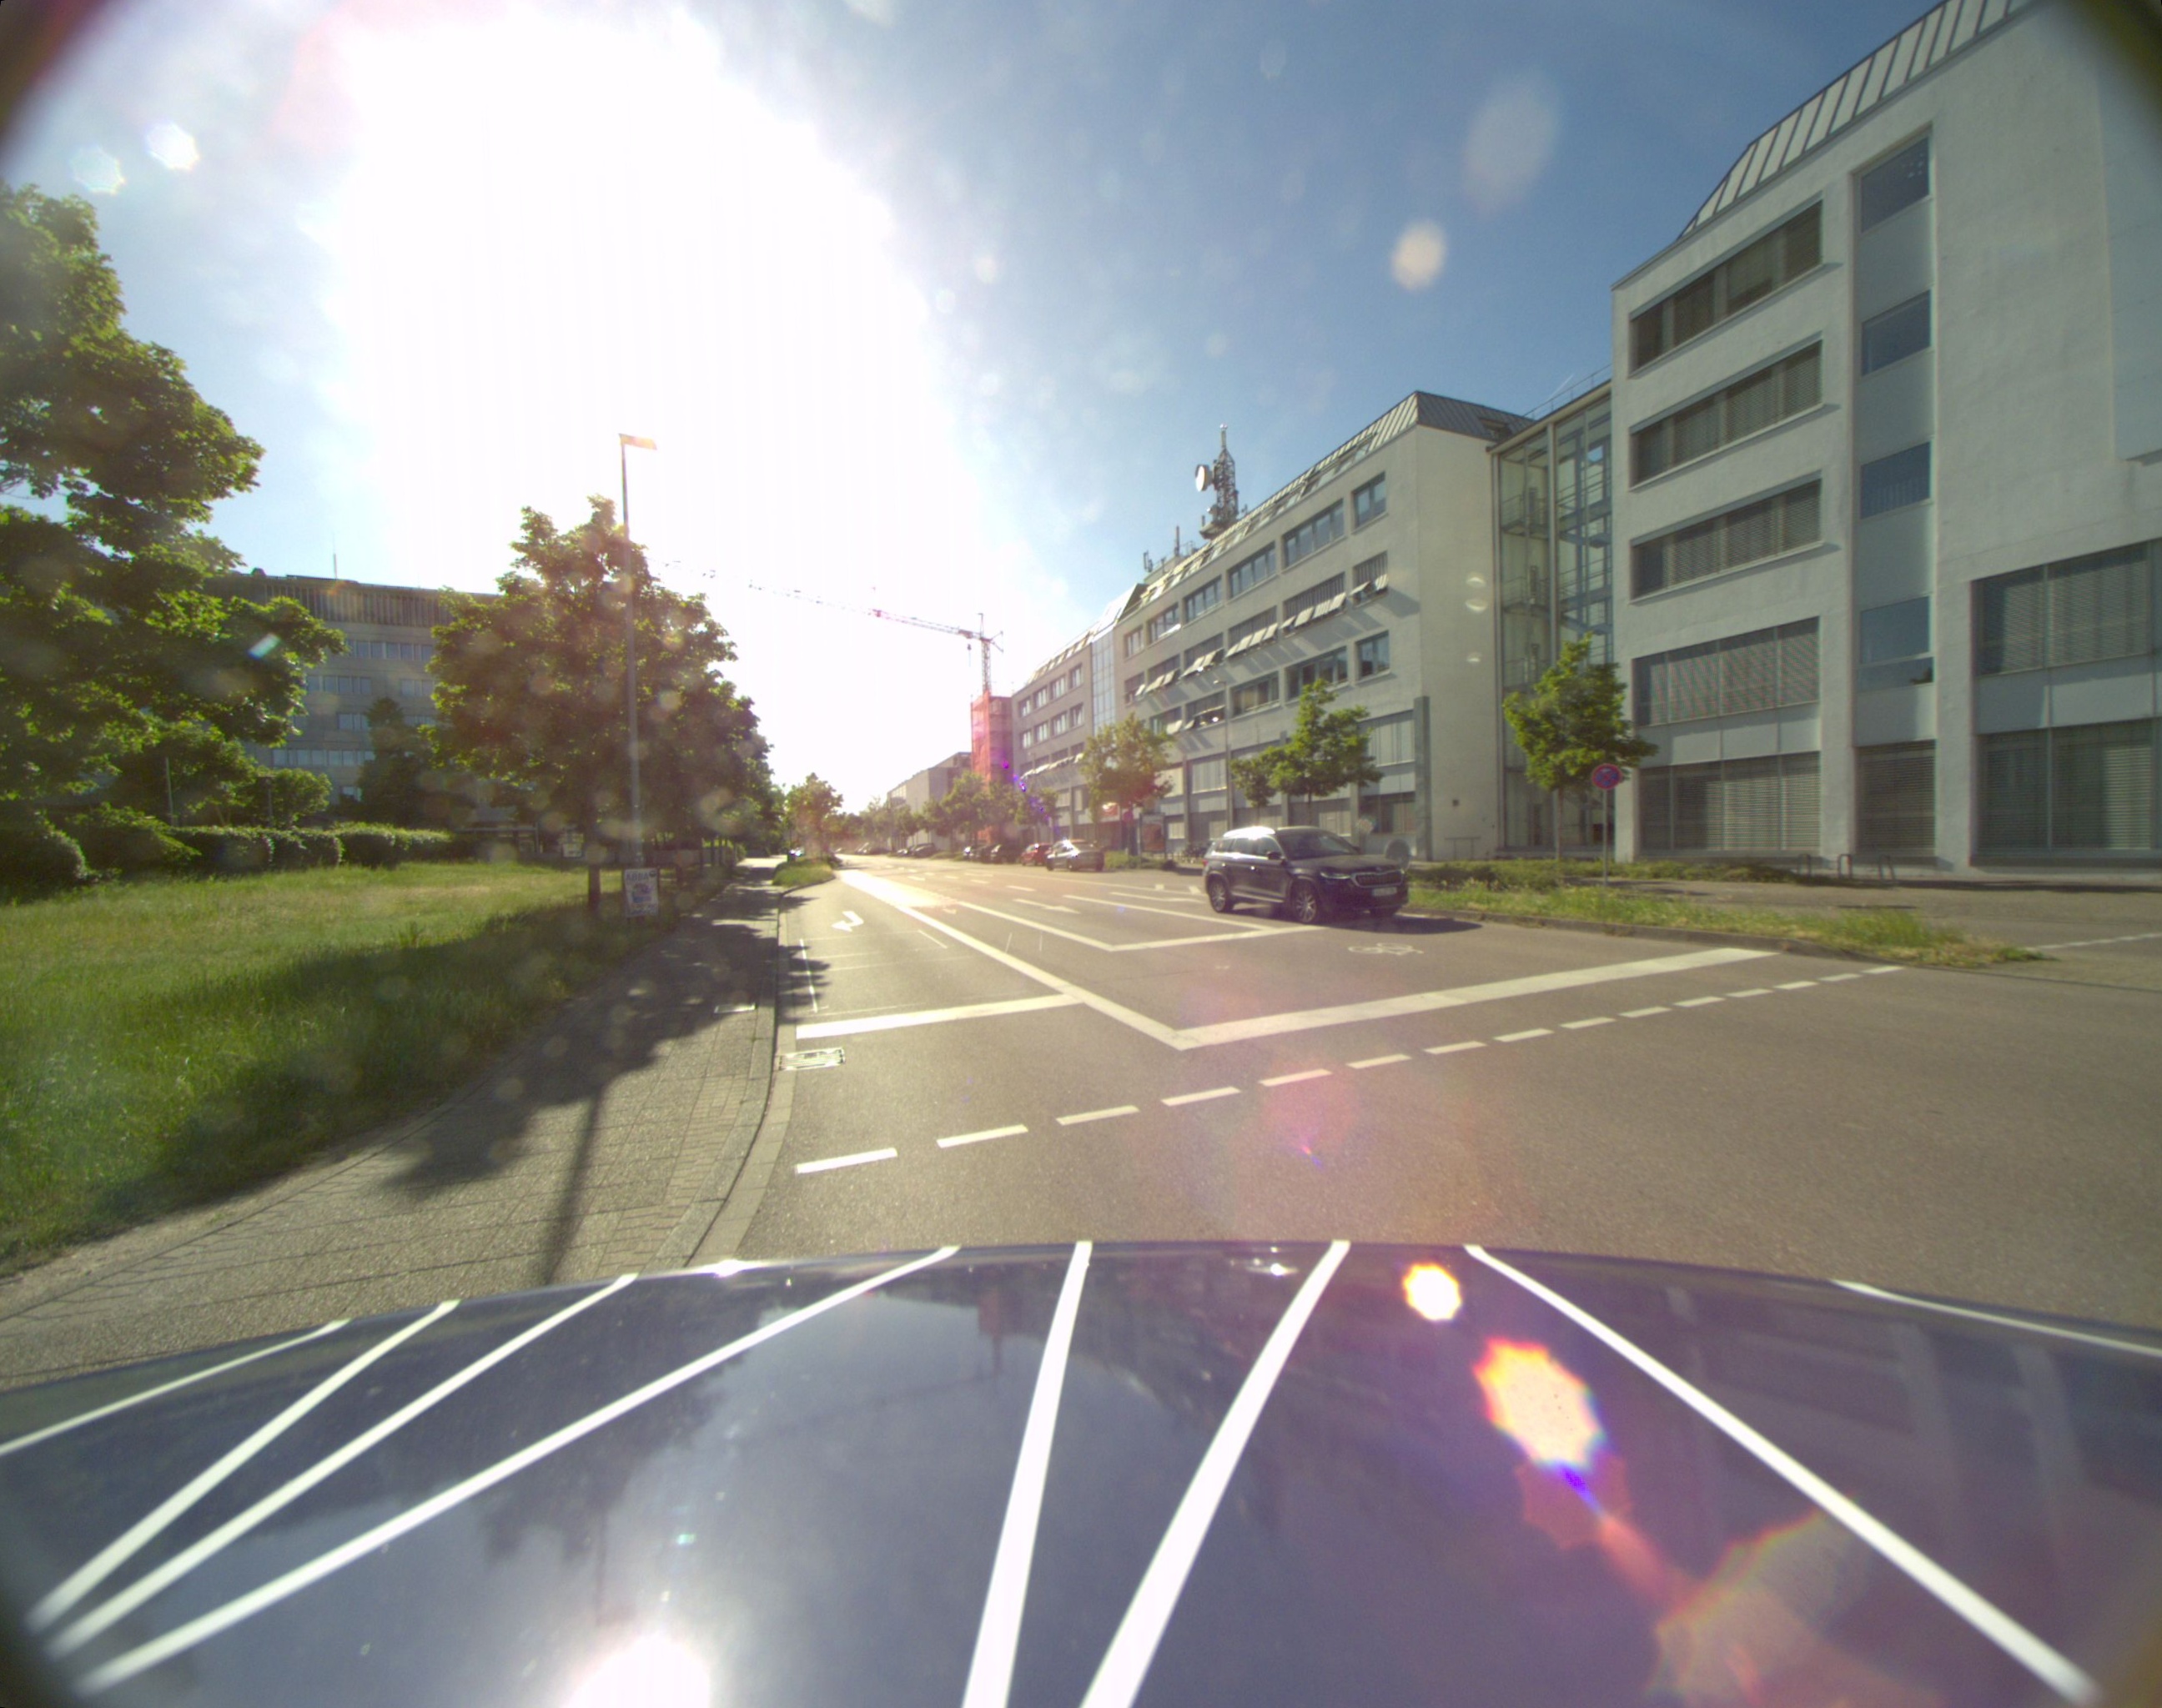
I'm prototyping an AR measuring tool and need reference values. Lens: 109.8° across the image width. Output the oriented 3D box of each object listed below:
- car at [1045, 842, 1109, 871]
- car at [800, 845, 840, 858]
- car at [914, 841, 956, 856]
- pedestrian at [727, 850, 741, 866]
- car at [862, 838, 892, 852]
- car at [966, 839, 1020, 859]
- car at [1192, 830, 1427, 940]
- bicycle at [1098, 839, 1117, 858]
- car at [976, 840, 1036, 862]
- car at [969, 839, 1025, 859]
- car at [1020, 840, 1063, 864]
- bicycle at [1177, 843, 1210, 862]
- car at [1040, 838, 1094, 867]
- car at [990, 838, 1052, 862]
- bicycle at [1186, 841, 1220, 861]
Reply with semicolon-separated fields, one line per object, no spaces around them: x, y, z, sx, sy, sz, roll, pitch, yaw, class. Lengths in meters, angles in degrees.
-0.274;0.097;40.711;1.695;1.460;4.537;-2;1;-24;car
-30.838;-0.259;89.879;4.421;1.455;1.892;-1;1;-21;car
-17.284;-0.624;89.960;4.404;1.424;1.973;-5;3;-24;car
-27.127;0.286;59.428;0.848;1.210;0.727;-1;1;-33;pedestrian
-40.502;-1.774;150.761;5.591;2.469;2.006;-4;3;-19;car
-7.847;-0.487;67.707;4.403;1.424;1.690;-4;3;-20;car
4.040;0.448;14.304;1.761;1.619;4.469;-5;2;-22;car
1.930;-0.434;55.996;0.712;1.339;2.228;-1;1;-15;bicycle
-6.072;-0.263;61.652;4.404;1.424;1.690;-5;3;-24;car
-7.244;-0.418;65.660;4.403;1.424;1.690;-5;3;-21;car
-2.727;-0.172;51.668;1.695;1.424;3.864;-5;2;-21;car
6.499;-0.106;43.811;1.773;1.063;0.555;-1;2;-13;bicycle
-0.940;-0.135;47.044;1.695;1.598;4.301;-5;2;-24;car
-4.651;-0.292;58.936;4.404;1.529;1.690;-5;3;-25;car
6.945;-0.182;43.152;1.795;1.063;0.620;-1;2;-13;bicycle
